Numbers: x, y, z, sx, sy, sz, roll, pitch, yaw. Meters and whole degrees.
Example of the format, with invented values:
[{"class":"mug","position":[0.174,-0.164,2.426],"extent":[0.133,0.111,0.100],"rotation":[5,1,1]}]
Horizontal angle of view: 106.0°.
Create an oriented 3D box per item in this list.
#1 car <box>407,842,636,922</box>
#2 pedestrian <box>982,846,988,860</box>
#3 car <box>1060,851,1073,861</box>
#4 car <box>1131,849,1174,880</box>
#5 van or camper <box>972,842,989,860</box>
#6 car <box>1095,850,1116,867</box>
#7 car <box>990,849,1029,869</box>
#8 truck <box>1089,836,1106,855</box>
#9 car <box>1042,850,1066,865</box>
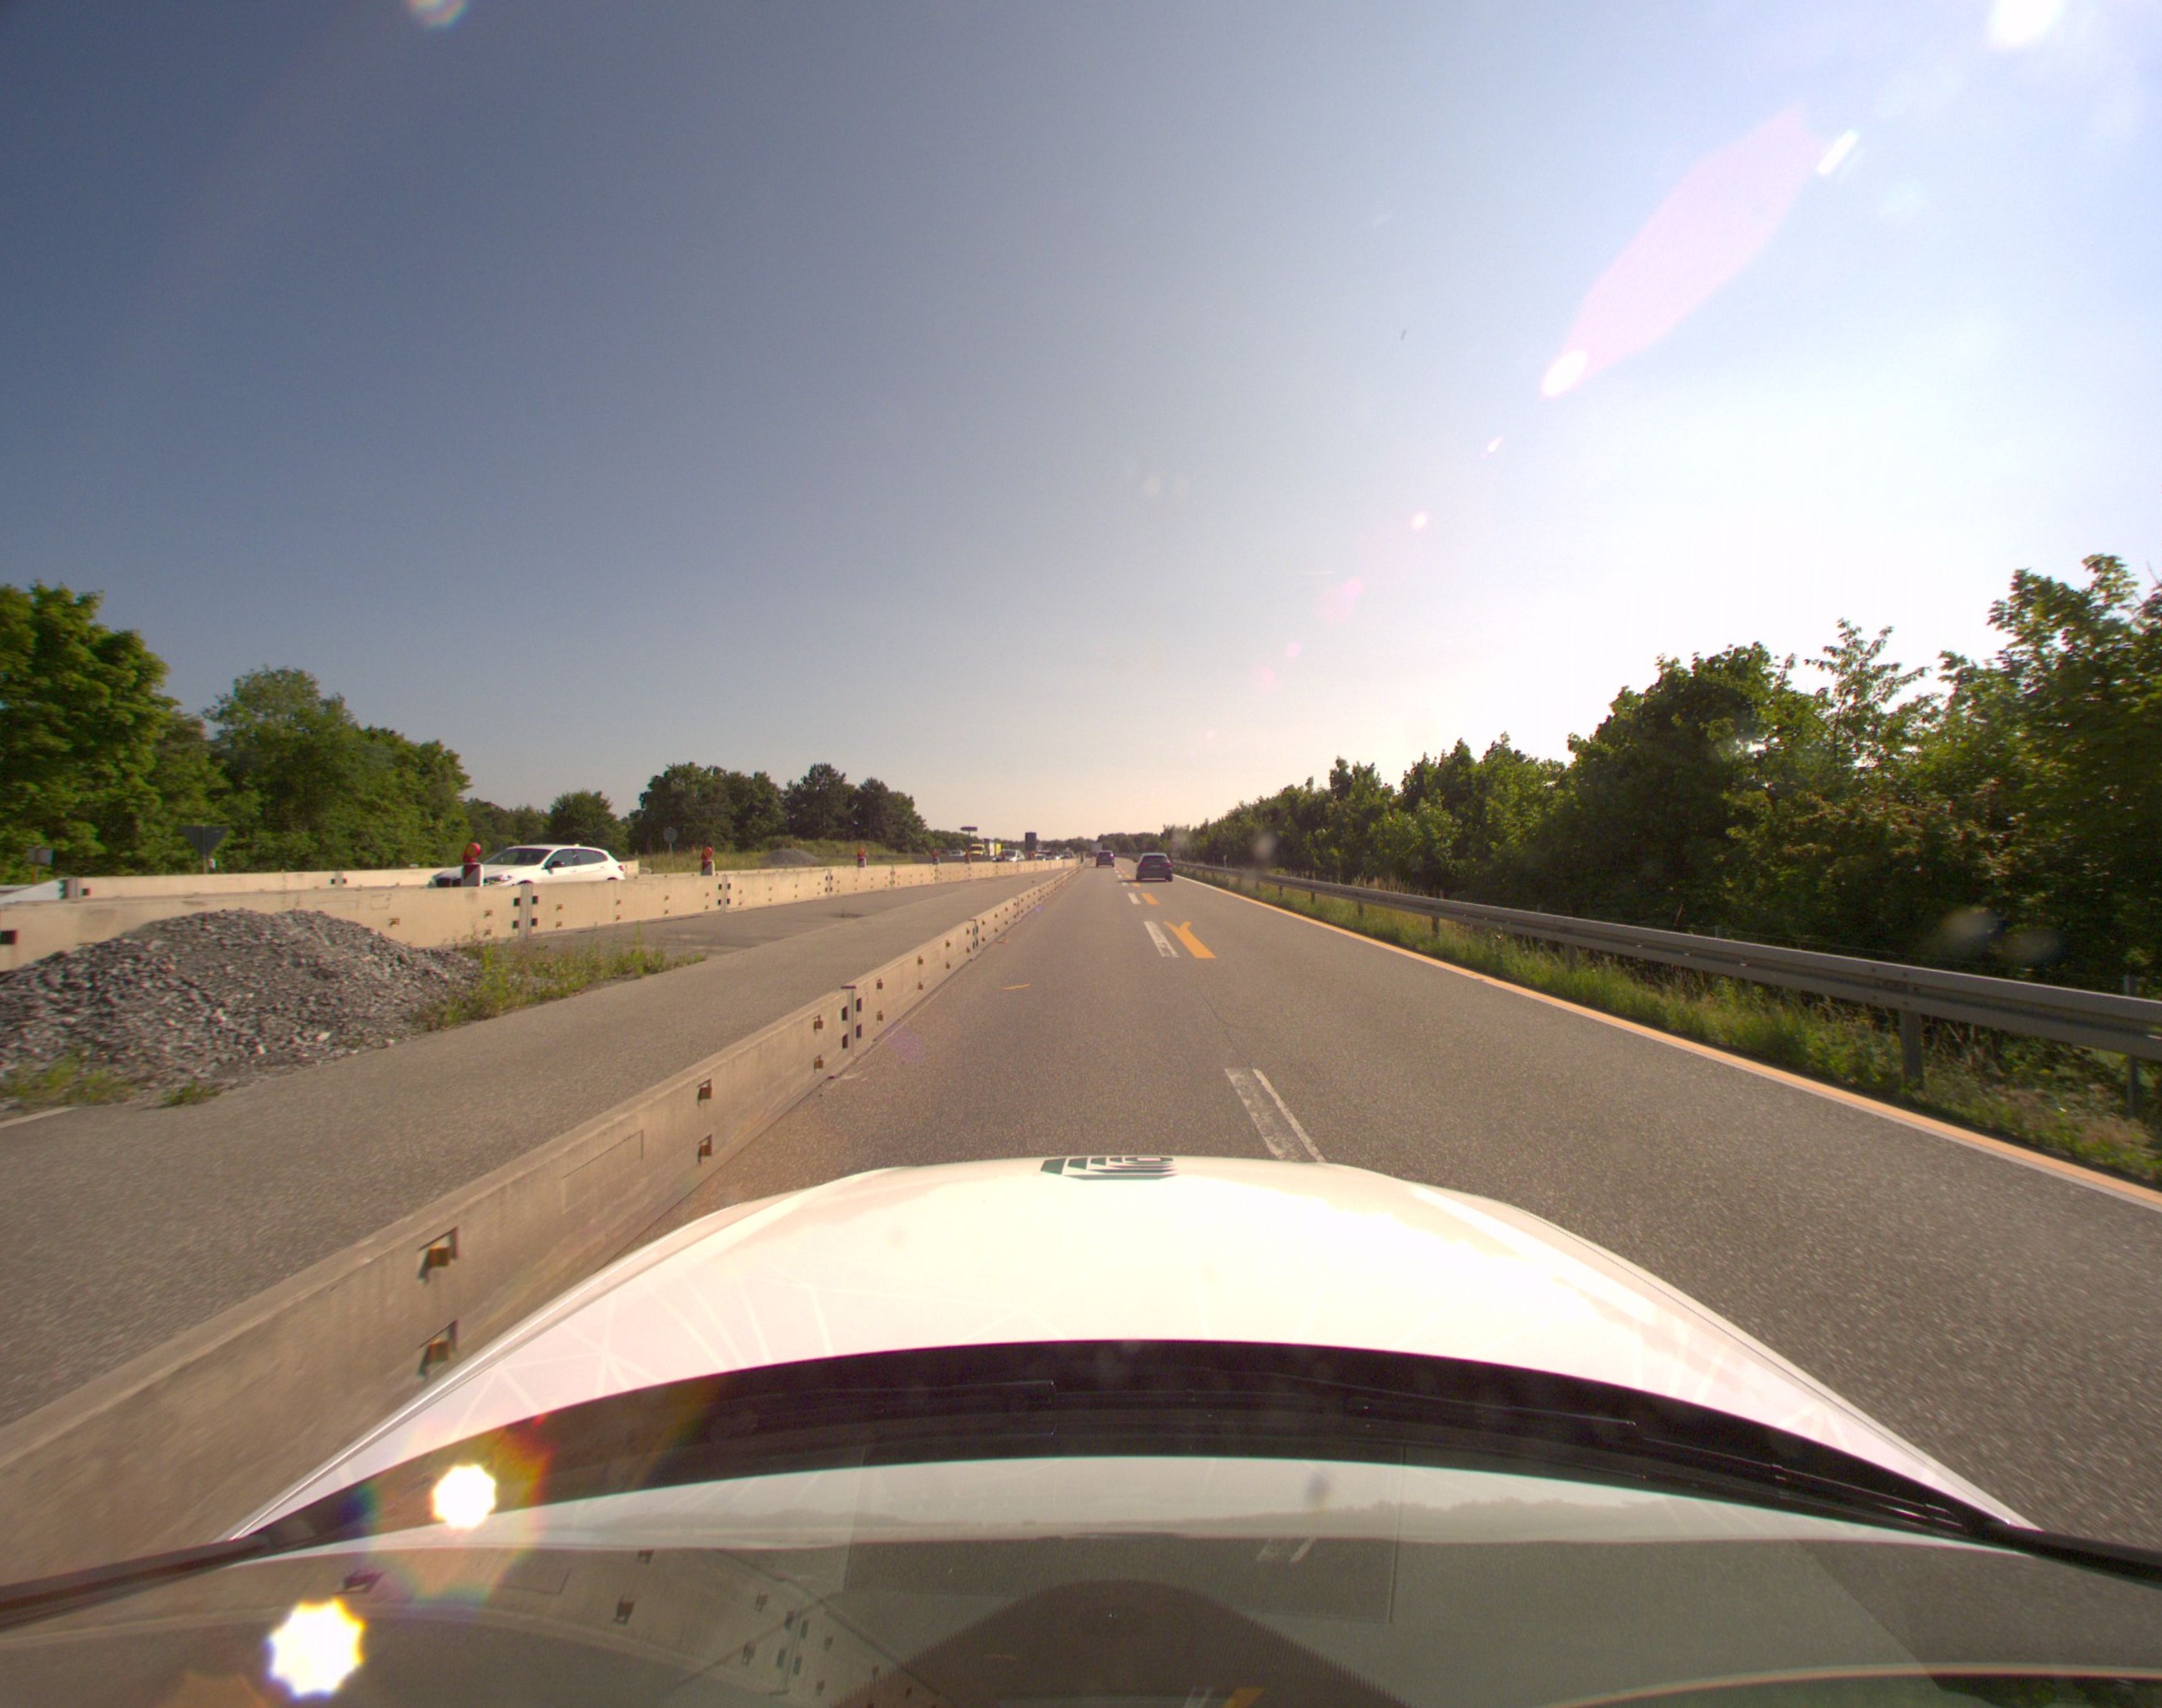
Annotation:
[{"class":"car","position":[-12.478,0.543,18.604],"extent":[1.808,1.608,4.447],"rotation":[0,0,7]},{"class":"pedestrian","position":[-12.955,-0.123,110.079],"extent":[0.741,1.820,0.794],"rotation":[0,0,-10]},{"class":"car","position":[-2.306,0.285,130.341],"extent":[1.986,1.621,4.849],"rotation":[0,0,1]},{"class":"car","position":[3.645,0.529,42.039],"extent":[1.914,1.493,4.000],"rotation":[1,0,0]},{"class":"van or camper","position":[-14.165,-0.439,115.249],"extent":[1.990,2.378,6.192],"rotation":[0,0,-4]},{"class":"car","position":[2.445,0.401,79.114],"extent":[1.986,1.567,4.003],"rotation":[0,0,2]},{"class":"car","position":[-5.508,0.359,63.305],"extent":[1.982,1.515,4.592],"rotation":[0,0,9]},{"class":"truck","position":[4.381,-2.378,224.461],"extent":[3.751,4.911,14.124],"rotation":[1,0,-2]},{"class":"car","position":[-2.728,0.364,83.019],"extent":[1.701,1.515,4.189],"rotation":[0,0,9]}]
